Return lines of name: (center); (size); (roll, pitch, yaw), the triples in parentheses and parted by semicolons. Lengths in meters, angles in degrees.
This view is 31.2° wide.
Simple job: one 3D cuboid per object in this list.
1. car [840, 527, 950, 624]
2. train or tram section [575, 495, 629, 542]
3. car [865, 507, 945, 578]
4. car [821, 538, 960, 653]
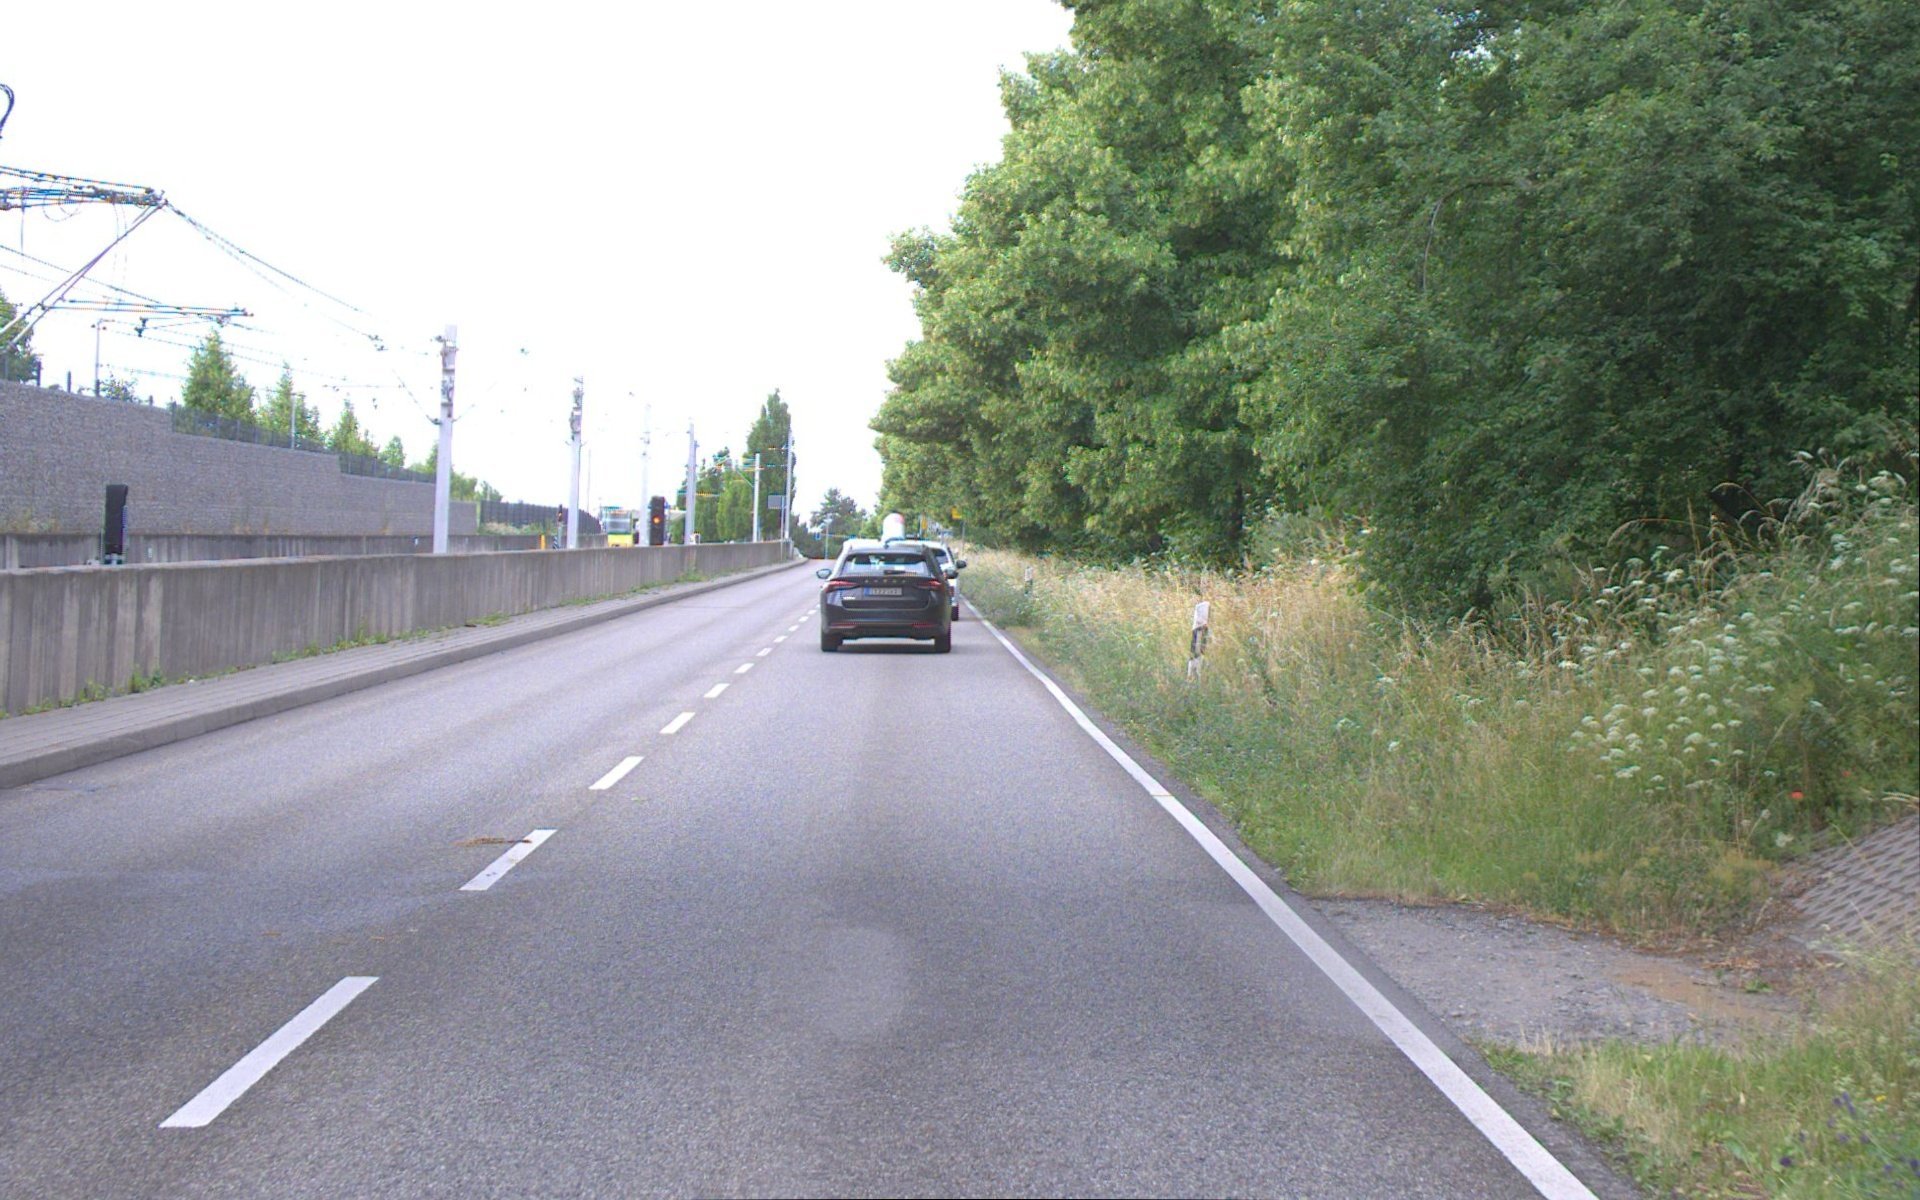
car: (-1.239, -0.483, 65.548); (1.993, 1.747, 4.000); (1, 1, -1)
train or tram section: (-26.815, -6.014, 257.056); (2.811, 3.106, 18.920); (1, 0, -9)
car: (-1.409, -1.441, 87.925); (1.993, 1.734, 4.000); (1, 0, -1)
car: (-0.938, -0.097, 46.958); (1.781, 1.463, 4.000); (1, 1, -1)
